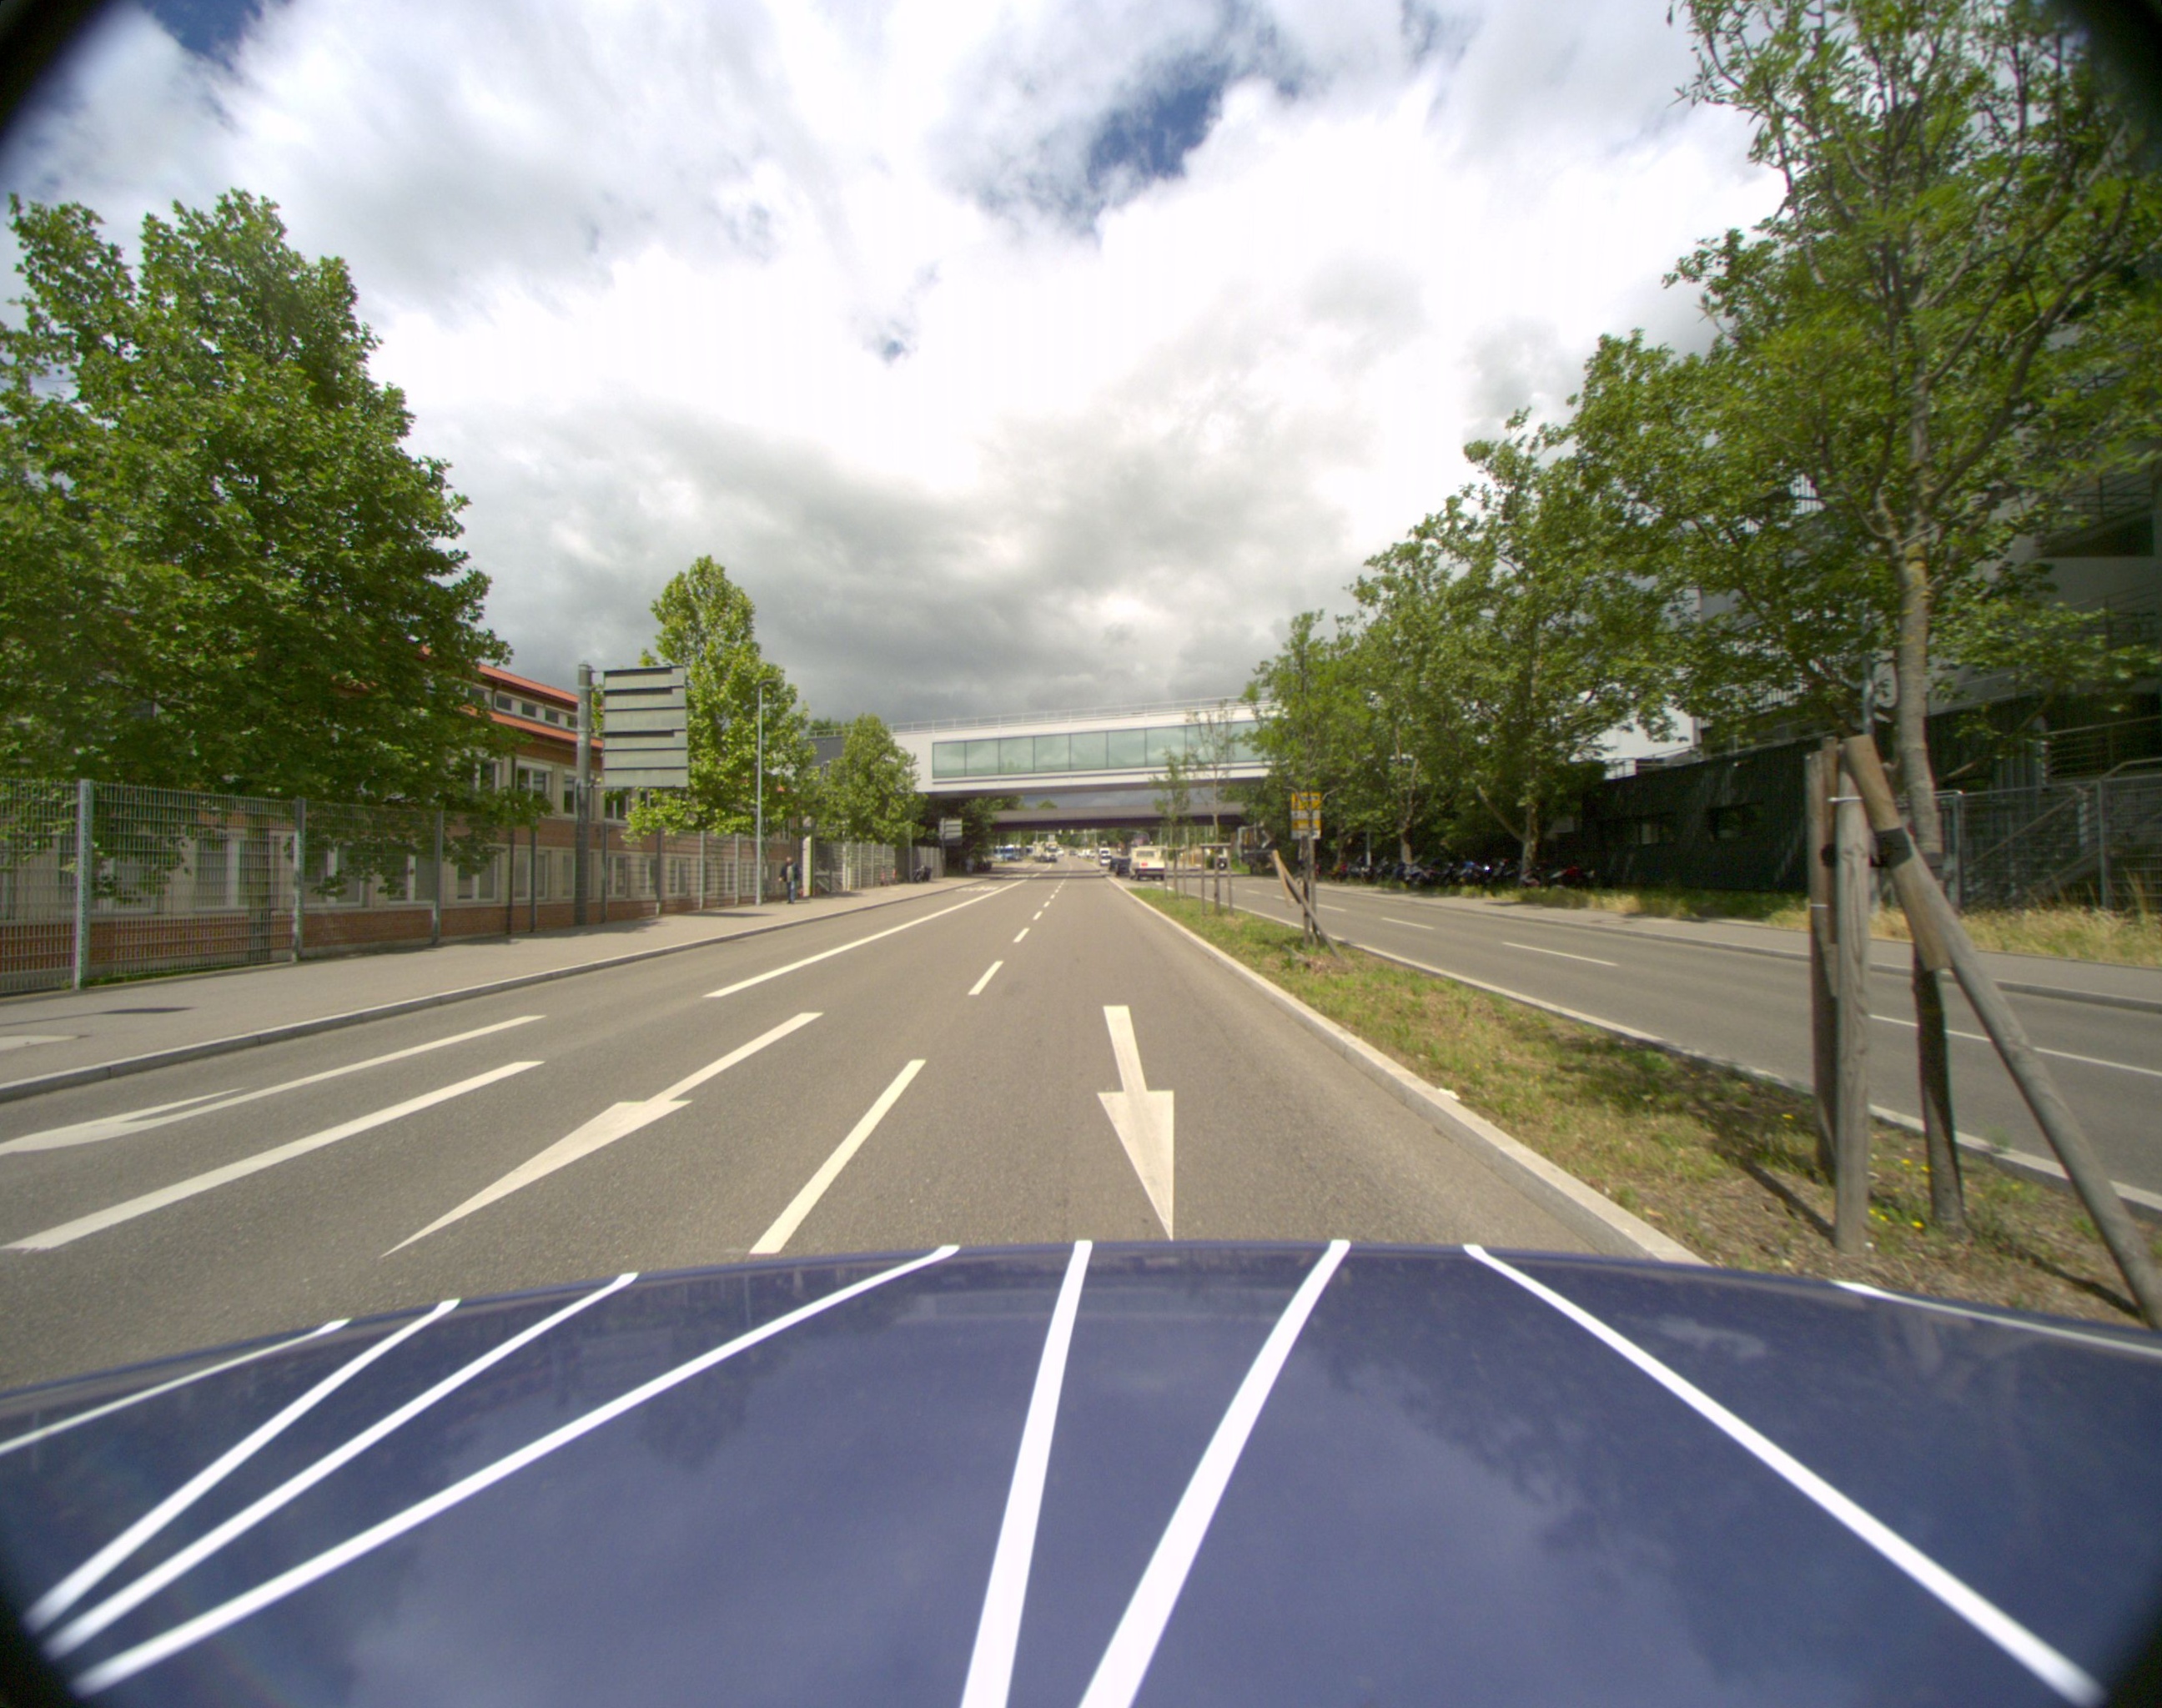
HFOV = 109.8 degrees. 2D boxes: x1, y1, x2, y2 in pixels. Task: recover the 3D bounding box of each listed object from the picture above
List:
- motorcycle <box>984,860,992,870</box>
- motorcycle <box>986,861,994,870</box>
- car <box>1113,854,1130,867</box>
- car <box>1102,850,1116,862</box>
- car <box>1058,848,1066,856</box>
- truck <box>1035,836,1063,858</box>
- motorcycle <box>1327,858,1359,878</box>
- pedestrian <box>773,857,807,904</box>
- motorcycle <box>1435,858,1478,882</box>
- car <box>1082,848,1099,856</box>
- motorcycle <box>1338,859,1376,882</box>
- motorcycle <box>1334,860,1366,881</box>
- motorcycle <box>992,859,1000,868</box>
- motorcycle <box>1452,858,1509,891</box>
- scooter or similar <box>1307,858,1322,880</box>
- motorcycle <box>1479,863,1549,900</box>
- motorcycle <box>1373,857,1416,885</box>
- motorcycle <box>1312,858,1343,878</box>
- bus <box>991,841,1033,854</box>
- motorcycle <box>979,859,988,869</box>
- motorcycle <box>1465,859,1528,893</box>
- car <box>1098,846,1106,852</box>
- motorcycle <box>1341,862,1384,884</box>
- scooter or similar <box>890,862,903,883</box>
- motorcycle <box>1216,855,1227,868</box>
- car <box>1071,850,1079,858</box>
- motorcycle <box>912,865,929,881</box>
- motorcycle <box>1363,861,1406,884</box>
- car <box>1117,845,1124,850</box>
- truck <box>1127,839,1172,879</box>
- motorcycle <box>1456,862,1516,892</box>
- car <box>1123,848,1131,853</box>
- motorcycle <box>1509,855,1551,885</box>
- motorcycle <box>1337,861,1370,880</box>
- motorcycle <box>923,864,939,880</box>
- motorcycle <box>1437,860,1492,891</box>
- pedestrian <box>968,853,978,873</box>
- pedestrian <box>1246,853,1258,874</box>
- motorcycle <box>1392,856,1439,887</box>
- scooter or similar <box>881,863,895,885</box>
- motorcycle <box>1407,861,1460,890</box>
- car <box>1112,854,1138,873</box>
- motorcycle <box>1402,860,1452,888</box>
[{"bbox_3d":[-10.827,1.301,88.454,0.679,1.136,2.160,0,0,-1],"label":"motorcycle"},{"bbox_3d":[-10.898,1.342,90.852,0.679,1.076,2.038,0,0,-1],"label":"motorcycle"},{"bbox_3d":[4.750,0.796,90.166,1.713,1.445,4.479,-1,0,-1],"label":"car"},{"bbox_3d":[4.201,0.306,113.708,1.813,1.770,4.977,-1,0,0],"label":"car"},{"bbox_3d":[-5.060,-0.540,201.114,1.999,2.267,3.998,-1,0,-5],"label":"car"},{"bbox_3d":[-6.212,-1.193,145.827,2.791,3.981,10.072,-1,0,-17],"label":"truck"},{"bbox_3d":[15.799,0.848,45.810,1.596,1.116,0.776,-3,-1,-9],"label":"motorcycle"},{"bbox_3d":[-10.951,0.983,28.632,0.879,1.733,0.940,1,1,0],"label":"pedestrian"},{"bbox_3d":[19.282,0.827,39.018,1.933,1.109,0.923,-4,-1,28],"label":"motorcycle"},{"bbox_3d":[2.115,-0.507,174.332,1.831,1.796,4.245,-2,0,-30],"label":"car"},{"bbox_3d":[15.334,0.931,42.200,1.752,1.171,0.852,-3,-1,-11],"label":"motorcycle"},{"bbox_3d":[15.796,0.977,44.614,1.595,1.116,0.776,-3,-1,2],"label":"motorcycle"},{"bbox_3d":[-10.452,1.200,93.353,0.679,1.076,2.180,0,0,-1],"label":"motorcycle"},{"bbox_3d":[16.004,0.831,30.475,1.882,1.202,0.655,-3,-1,4],"label":"motorcycle"},{"bbox_3d":[13.679,0.843,44.541,0.355,1.229,1.479,-2,1,0],"label":"scooter or similar"},{"bbox_3d":[14.887,0.934,26.169,1.881,1.166,0.746,-3,-1,10],"label":"motorcycle"},{"bbox_3d":[15.653,0.854,37.991,1.934,1.283,0.894,-3,-1,21],"label":"motorcycle"},{"bbox_3d":[15.622,0.865,48.182,1.745,1.164,0.777,-3,-1,9],"label":"motorcycle"},{"bbox_3d":[-16.410,-1.551,180.943,9.781,2.919,2.651,-2,1,-1],"label":"bus"},{"bbox_3d":[-11.055,1.123,86.003,0.679,1.148,2.113,0,0,1],"label":"motorcycle"},{"bbox_3d":[15.428,0.816,28.239,1.881,1.179,0.730,-3,0,9],"label":"motorcycle"},{"bbox_3d":[5.212,-1.205,191.375,1.998,1.346,4.000,0,0,2],"label":"car"},{"bbox_3d":[15.188,1.023,41.006,1.938,1.109,0.920,1,1,-11],"label":"motorcycle"},{"bbox_3d":[-11.627,1.186,47.873,0.492,1.287,1.336,0,0,0],"label":"scooter or similar"},{"bbox_3d":[13.903,0.761,75.161,0.641,1.191,2.257,-3,1,0],"label":"motorcycle"},{"bbox_3d":[-1.536,-0.021,202.367,1.998,2.002,4.000,-1,0,0],"label":"car"},{"bbox_3d":[-11.161,1.325,52.995,0.670,1.058,2.247,2,0,0],"label":"motorcycle"},{"bbox_3d":[15.719,0.967,39.341,1.933,1.109,0.923,-4,-1,28],"label":"motorcycle"},{"bbox_3d":[11.991,-2.021,228.421,1.998,1.478,4.000,0,0,2],"label":"car"},{"bbox_3d":[4.942,0.371,55.841,2.486,2.735,6.457,-1,0,-2],"label":"truck"},{"bbox_3d":[15.658,0.884,29.419,1.880,1.078,0.795,-3,-1,16],"label":"motorcycle"},{"bbox_3d":[11.833,-0.901,196.451,1.998,1.346,4.000,0,0,2],"label":"car"},{"bbox_3d":[18.933,0.686,32.092,0.654,1.202,1.984,-3,-1,5],"label":"motorcycle"},{"bbox_3d":[15.499,0.941,43.246,1.595,1.027,0.776,-3,-1,2],"label":"motorcycle"},{"bbox_3d":[-11.058,1.326,56.093,0.709,1.058,2.510,2,0,0],"label":"motorcycle"},{"bbox_3d":[15.859,0.876,31.451,1.882,1.172,0.699,-3,-1,4],"label":"motorcycle"},{"bbox_3d":[-10.263,0.862,72.392,0.791,1.876,1.097,0,1,0],"label":"pedestrian"},{"bbox_3d":[13.846,0.778,61.528,0.769,1.602,0.813,-3,1,0],"label":"pedestrian"},{"bbox_3d":[15.619,0.816,35.521,1.934,1.336,0.866,-3,-1,21],"label":"motorcycle"},{"bbox_3d":[-11.634,1.206,45.802,0.492,1.287,1.336,0,0,0],"label":"scooter or similar"},{"bbox_3d":[15.205,0.926,32.840,1.881,1.172,0.815,-3,-1,9],"label":"motorcycle"},{"bbox_3d":[4.039,0.838,70.208,1.910,1.621,4.291,-1,0,-3],"label":"car"},{"bbox_3d":[15.530,0.885,34.127,1.880,1.172,0.816,-3,-1,15],"label":"motorcycle"}]
